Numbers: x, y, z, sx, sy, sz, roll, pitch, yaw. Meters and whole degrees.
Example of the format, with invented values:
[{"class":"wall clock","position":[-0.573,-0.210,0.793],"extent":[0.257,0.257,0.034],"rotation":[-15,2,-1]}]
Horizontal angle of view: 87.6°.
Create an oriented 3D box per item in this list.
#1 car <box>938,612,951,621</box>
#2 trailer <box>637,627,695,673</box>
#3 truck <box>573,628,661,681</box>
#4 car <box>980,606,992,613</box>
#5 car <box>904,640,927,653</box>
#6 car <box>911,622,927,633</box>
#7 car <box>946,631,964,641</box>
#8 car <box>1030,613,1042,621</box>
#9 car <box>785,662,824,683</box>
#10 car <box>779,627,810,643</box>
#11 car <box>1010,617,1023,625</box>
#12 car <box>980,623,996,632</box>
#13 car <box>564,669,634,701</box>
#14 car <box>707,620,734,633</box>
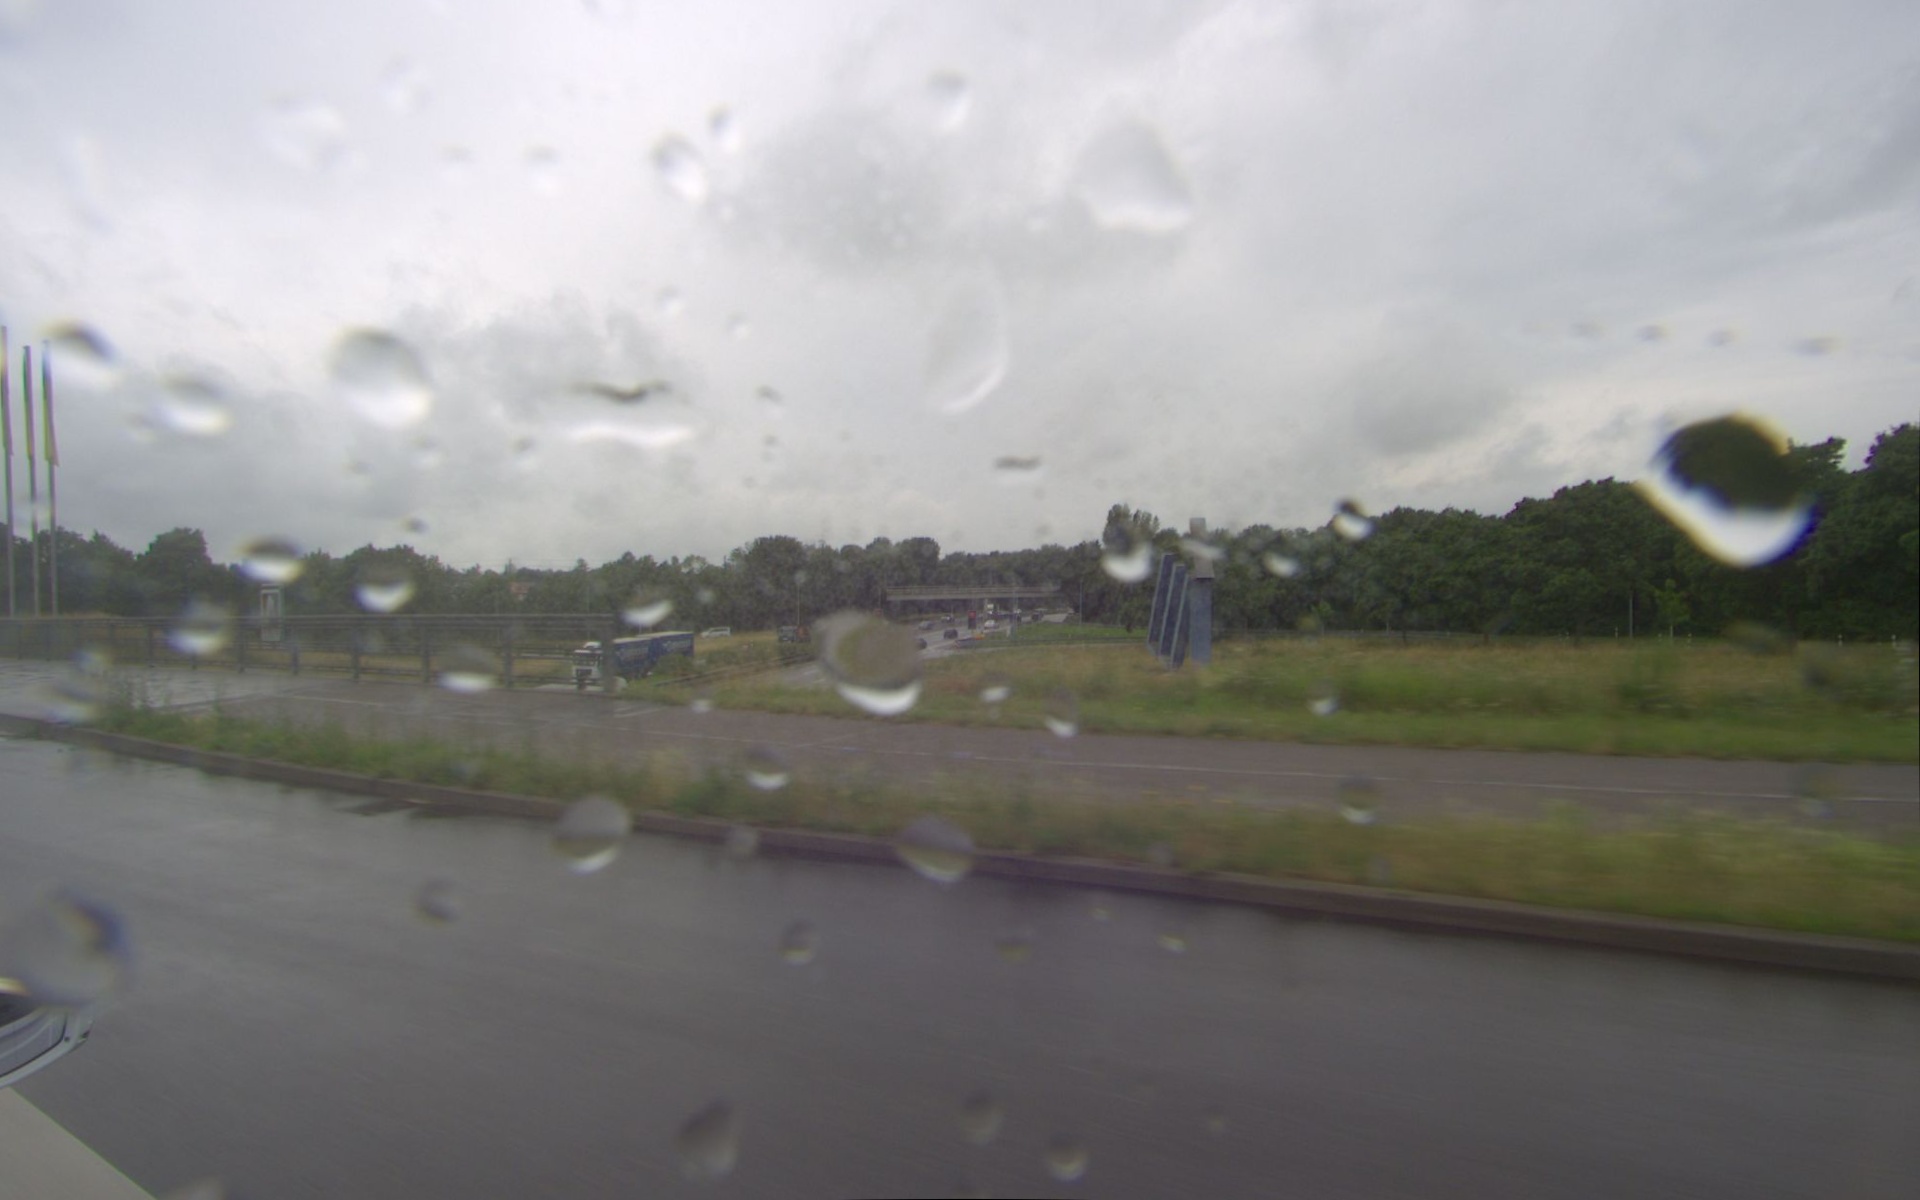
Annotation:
[{"class":"car","position":[-3.293,3.573,216.540],"extent":[1.962,1.720,4.742],"rotation":[-1,0,11]},{"class":"trailer","position":[-29.386,4.895,100.324],"extent":[2.520,4.358,7.369],"rotation":[0,0,11]},{"class":"truck","position":[-31.081,4.805,91.302],"extent":[2.520,4.358,10.938],"rotation":[0,-1,11]},{"class":"car","position":[6.415,2.344,249.473],"extent":[1.964,1.810,3.994],"rotation":[0,0,18]},{"class":"car","position":[-6.058,6.327,136.114],"extent":[1.963,1.613,3.996],"rotation":[0,-1,15]},{"class":"car","position":[-7.367,5.027,182.121],"extent":[1.732,1.810,3.995],"rotation":[0,0,16]},{"class":"car","position":[-0.785,5.771,160.603],"extent":[1.963,1.613,3.996],"rotation":[0,-1,15]},{"class":"car","position":[17.473,3.869,229.212],"extent":[1.963,1.613,3.996],"rotation":[0,-1,15]},{"class":"car","position":[-13.996,6.543,90.257],"extent":[1.963,1.613,3.996],"rotation":[0,-1,15]},{"class":"car","position":[-22.046,4.627,133.601],"extent":[2.255,1.990,5.615],"rotation":[0,-1,12]},{"class":"car","position":[12.178,4.432,214.198],"extent":[1.963,1.613,3.996],"rotation":[0,-1,15]},{"class":"car","position":[5.218,5.046,185.794],"extent":[1.963,1.613,3.996],"rotation":[0,-1,15]},{"class":"car","position":[-21.311,4.996,59.289],"extent":[1.963,1.613,3.996],"rotation":[0,-1,15]},{"class":"car","position":[-39.982,4.435,167.156],"extent":[3.949,2.040,1.987],"rotation":[1,0,-35]}]
